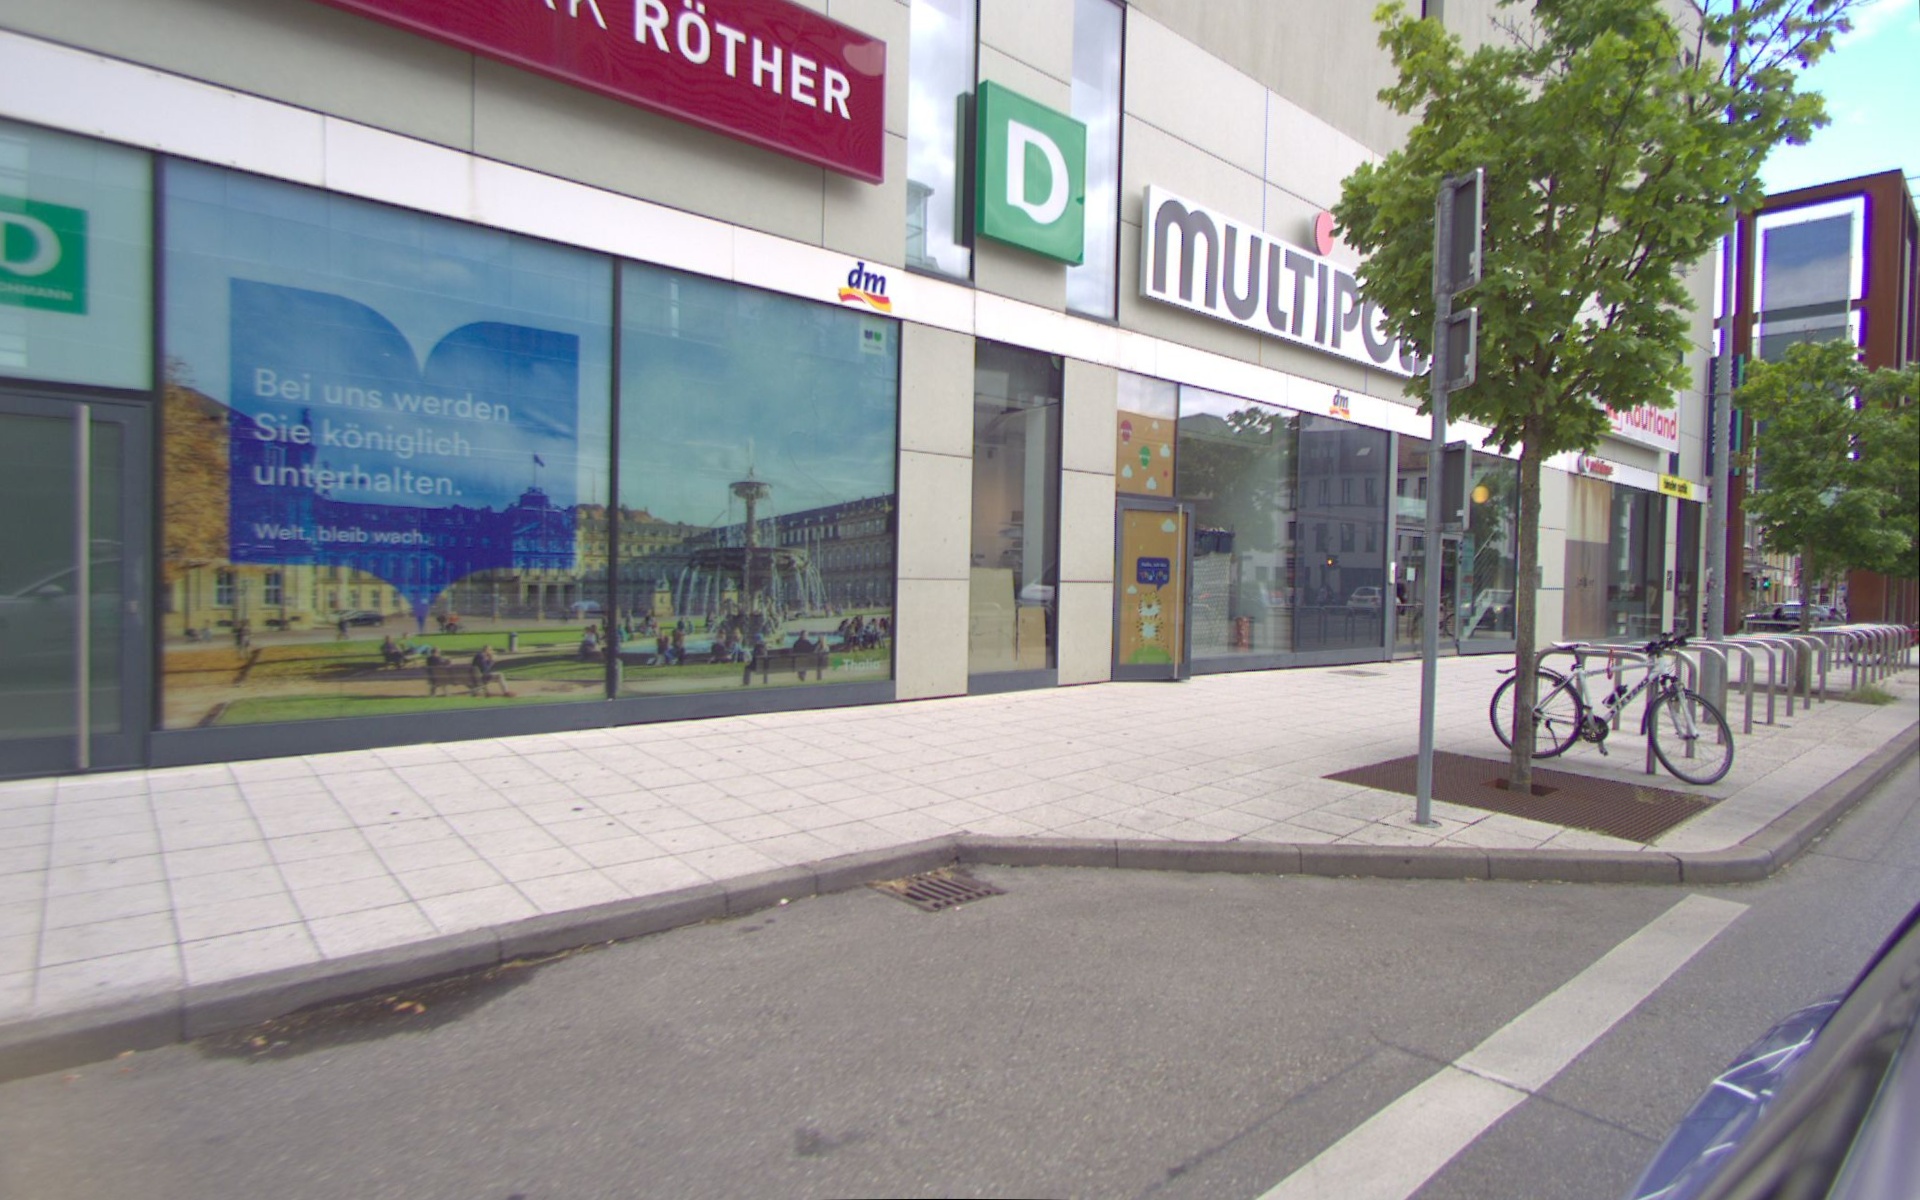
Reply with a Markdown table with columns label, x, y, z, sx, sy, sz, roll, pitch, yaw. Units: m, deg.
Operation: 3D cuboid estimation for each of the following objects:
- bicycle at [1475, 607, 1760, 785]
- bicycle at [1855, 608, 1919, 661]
| label | x | y | z | sx | sy | sz | roll | pitch | yaw |
| --- | --- | --- | --- | --- | --- | --- | --- | --- | --- |
| bicycle | 5.047 | 0.678 | 7.854 | 1.740 | 1.113 | 0.553 | 5 | 3 | 43 |
| bicycle | 19.780 | 0.724 | 21.015 | 1.740 | 1.034 | 0.445 | 3 | 2 | 44 |
